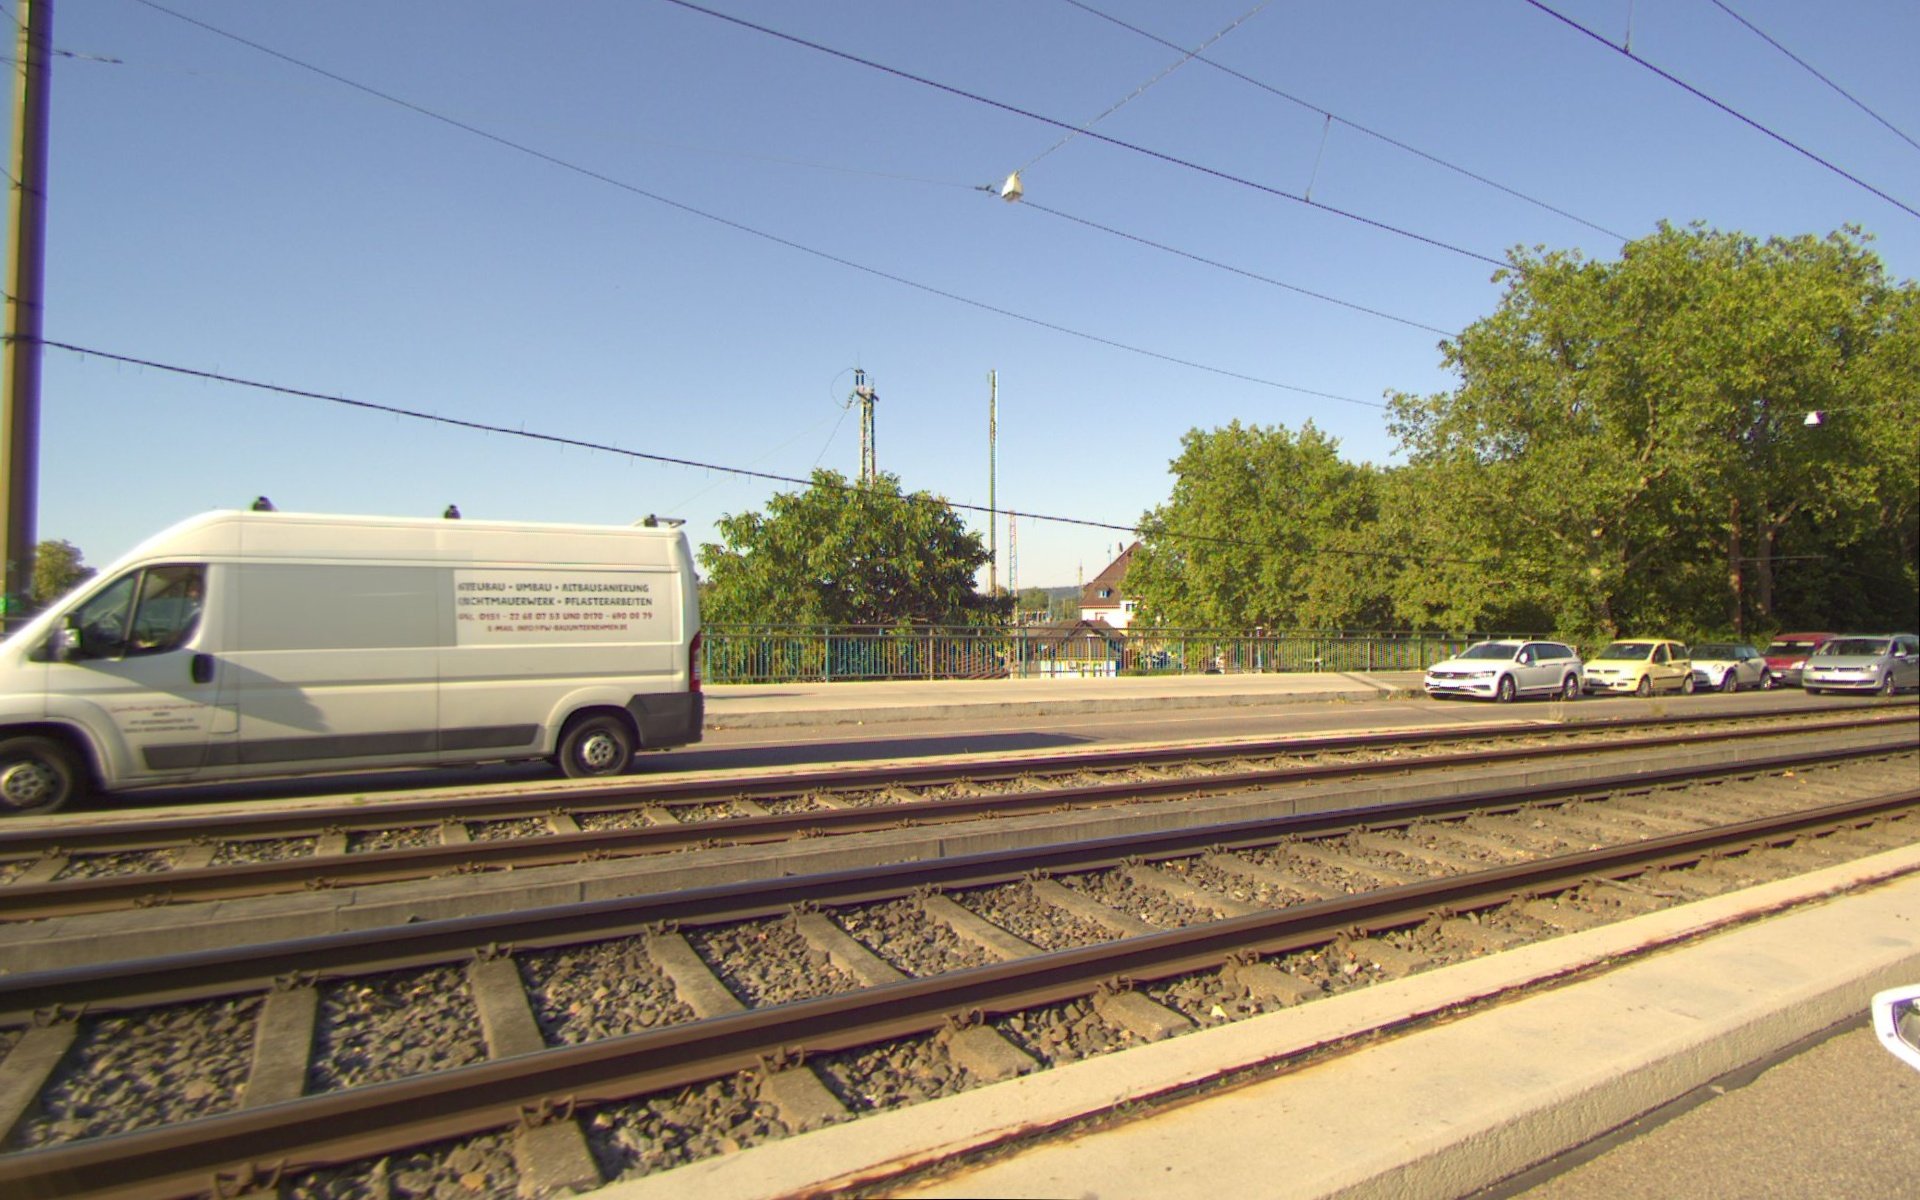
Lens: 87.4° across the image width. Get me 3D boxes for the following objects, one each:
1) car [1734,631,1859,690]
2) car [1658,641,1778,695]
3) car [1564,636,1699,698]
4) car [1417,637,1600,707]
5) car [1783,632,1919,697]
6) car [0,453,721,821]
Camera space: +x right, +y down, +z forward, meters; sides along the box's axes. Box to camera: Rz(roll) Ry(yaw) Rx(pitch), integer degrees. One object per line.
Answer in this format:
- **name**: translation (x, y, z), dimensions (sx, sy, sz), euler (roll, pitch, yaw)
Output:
- **car**: translation (27.520, 1.933, 33.008), dimensions (4.630, 1.777, 1.733), euler (1, -1, -31)
- **car**: translation (22.918, 1.999, 30.344), dimensions (3.958, 1.470, 1.624), euler (1, -1, -33)
- **car**: translation (18.413, 1.783, 27.516), dimensions (3.746, 1.551, 1.626), euler (1, -1, -31)
- **car**: translation (13.442, 1.693, 24.531), dimensions (4.900, 1.483, 1.732), euler (1, -1, -32)
- **car**: translation (25.167, 1.738, 28.076), dimensions (4.542, 1.687, 1.865), euler (1, -2, -30)
- **car**: translation (-5.433, 0.290, 9.209), dimensions (5.970, 2.627, 2.076), euler (1, 0, -31)
